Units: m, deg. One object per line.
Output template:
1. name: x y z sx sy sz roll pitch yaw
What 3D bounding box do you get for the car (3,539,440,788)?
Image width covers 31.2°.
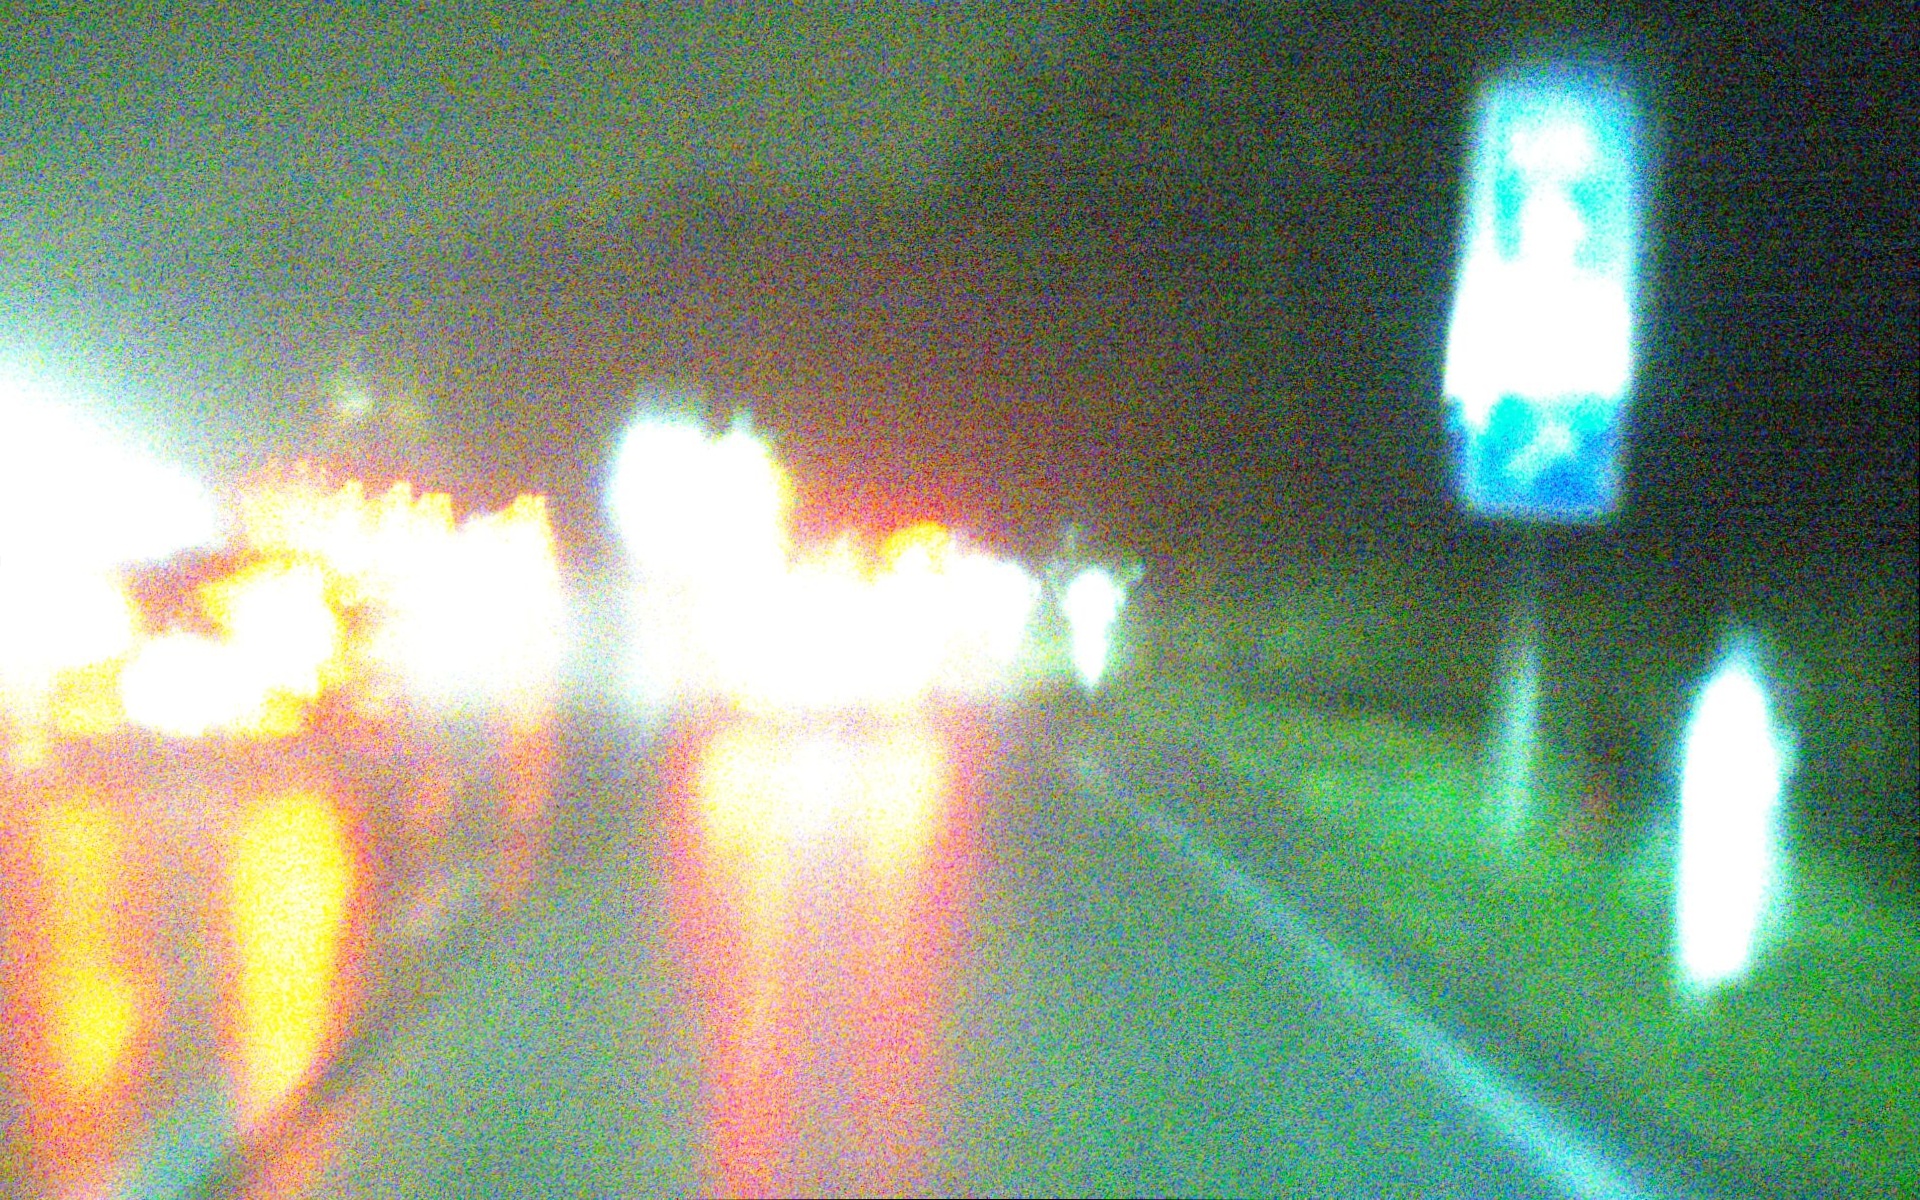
1. car: -4.606 0.360 22.039 1.962 1.376 4.049 2 0 -1

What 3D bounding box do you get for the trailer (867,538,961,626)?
1. trailer: -1.225 -0.466 86.529 2.078 2.007 10.648 2 0 -2

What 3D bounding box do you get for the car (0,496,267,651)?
1. car: -8.903 -0.307 37.053 1.768 1.512 4.915 1 1 1

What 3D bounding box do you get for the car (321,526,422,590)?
1. car: -15.098 -1.072 88.387 1.892 1.545 4.000 2 0 0
